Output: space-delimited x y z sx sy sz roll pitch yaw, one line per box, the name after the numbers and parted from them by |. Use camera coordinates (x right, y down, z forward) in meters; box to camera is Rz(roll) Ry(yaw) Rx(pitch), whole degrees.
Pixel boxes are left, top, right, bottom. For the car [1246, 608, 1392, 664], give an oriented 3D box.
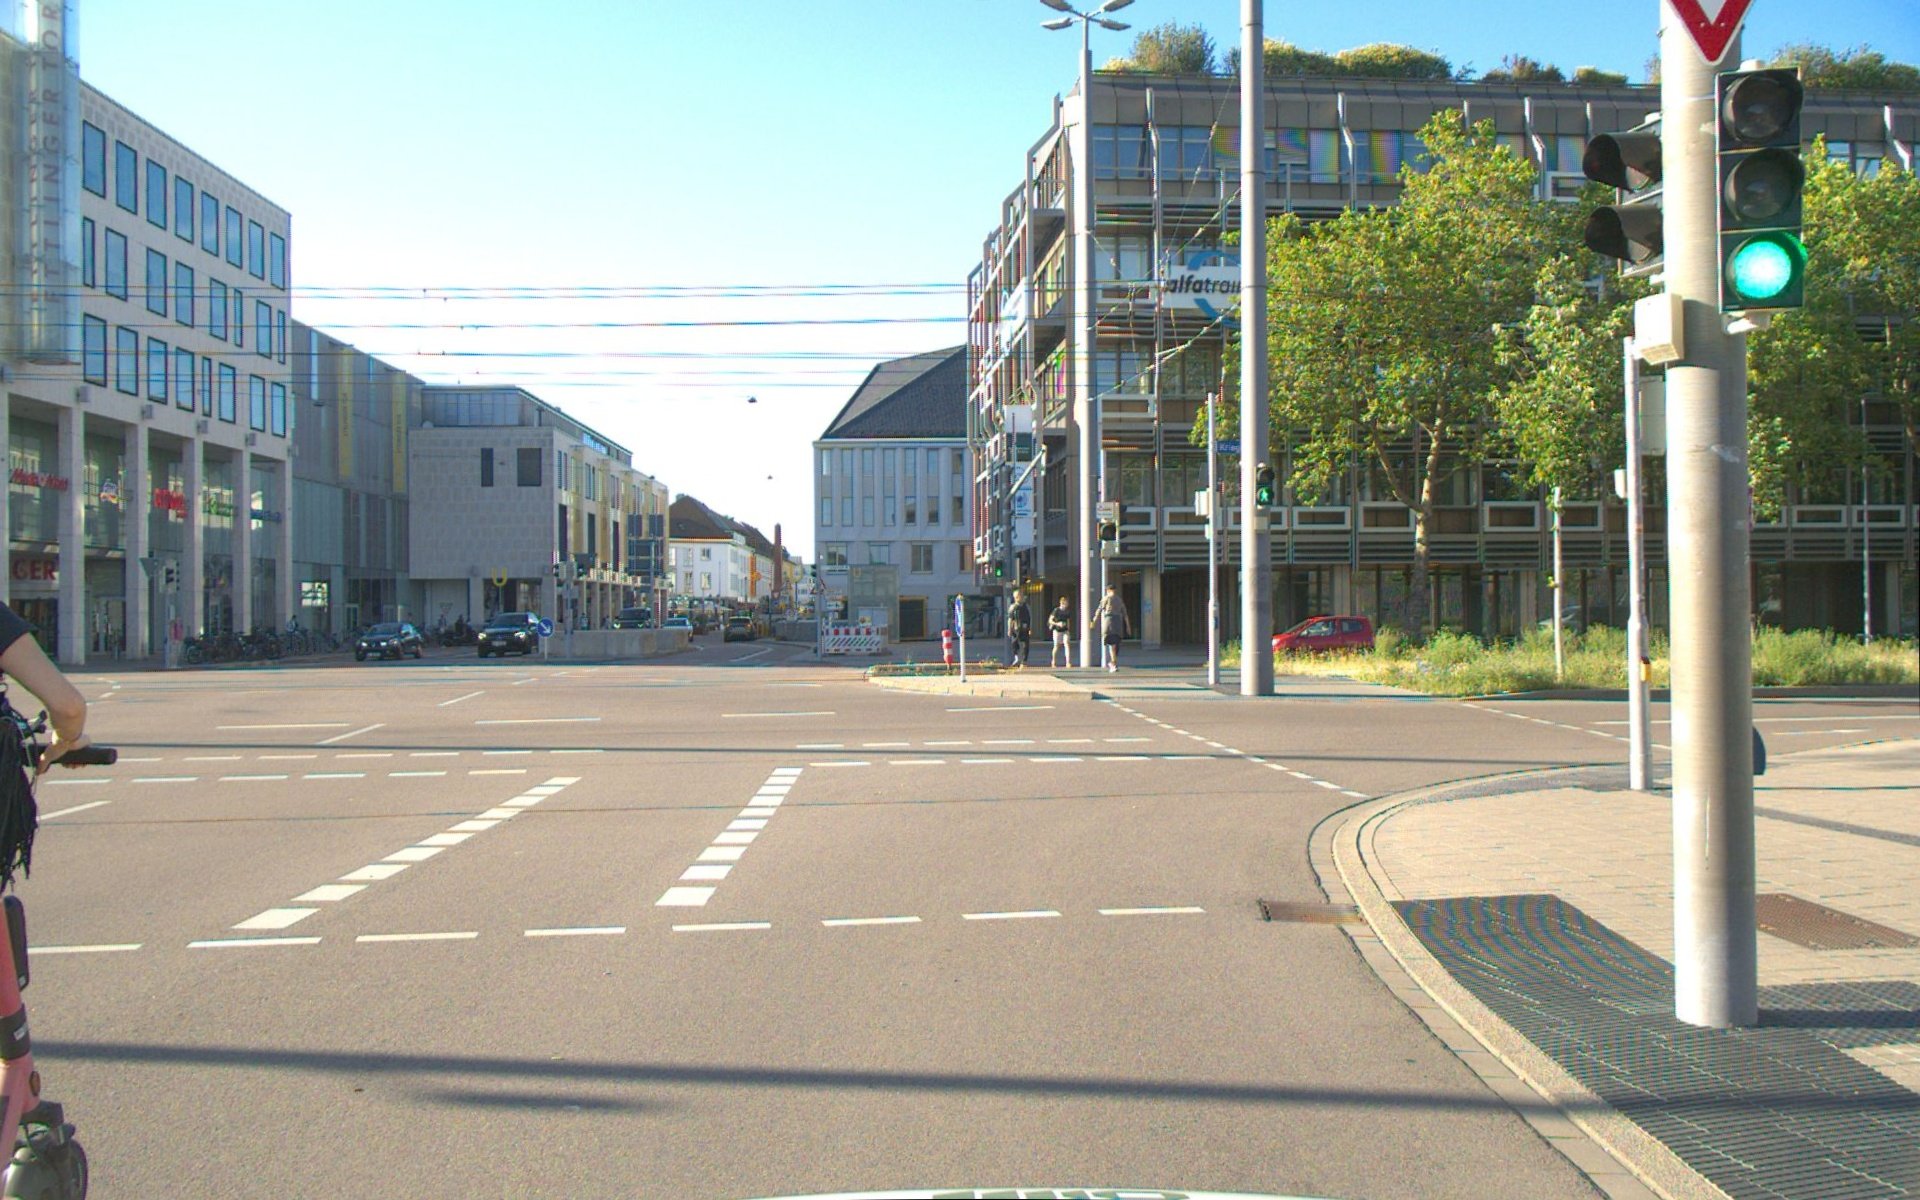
10.486 1.072 48.495 3.790 1.512 1.845 -1 -3 -3 | car

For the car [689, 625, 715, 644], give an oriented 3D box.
-25.862 3.436 165.998 2.131 1.906 5.610 0 -1 -4 | car

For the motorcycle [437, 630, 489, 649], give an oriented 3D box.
-27.787 2.212 92.489 2.617 1.013 0.915 1 -1 -7 | motorcycle

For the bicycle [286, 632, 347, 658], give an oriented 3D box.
-28.746 2.009 73.906 2.417 1.130 0.684 -1 0 1 | bicycle

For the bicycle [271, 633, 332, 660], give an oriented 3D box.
-28.147 1.985 70.710 2.417 1.130 0.537 -1 -1 1 | bicycle

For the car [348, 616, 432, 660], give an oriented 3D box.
-22.257 1.475 64.707 1.898 1.608 4.293 -1 0 -2 | car

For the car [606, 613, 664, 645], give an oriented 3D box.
-17.861 1.587 91.199 2.129 1.722 5.486 0 -1 0 | car

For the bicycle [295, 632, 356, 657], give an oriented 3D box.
-28.836 2.020 75.157 2.417 1.130 0.835 -1 0 1 | bicycle

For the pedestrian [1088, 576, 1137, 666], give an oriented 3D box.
3.045 0.409 33.105 0.839 1.774 0.738 0 0 -8 | pedestrian

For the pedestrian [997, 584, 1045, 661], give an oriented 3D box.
1.272 0.454 34.437 0.878 1.576 0.923 0 1 -6 | pedestrian

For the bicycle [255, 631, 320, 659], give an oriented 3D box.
-27.870 1.851 68.565 2.417 1.130 0.684 -1 0 1 | bicycle

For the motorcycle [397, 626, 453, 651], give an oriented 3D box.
-28.026 2.032 86.678 2.617 1.239 0.915 1 -1 -7 | motorcycle

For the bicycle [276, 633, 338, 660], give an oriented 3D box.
-28.159 1.994 71.350 2.417 1.130 0.684 -1 0 1 | bicycle

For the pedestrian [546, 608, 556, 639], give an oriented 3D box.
-27.483 1.585 111.257 0.605 2.049 0.476 1 -1 -14 | pedestrian

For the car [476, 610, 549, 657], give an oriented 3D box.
-17.117 1.264 63.439 1.899 1.707 4.290 0 -1 -4 | car

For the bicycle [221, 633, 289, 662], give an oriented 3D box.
-28.117 1.898 65.966 2.416 1.130 0.684 -1 0 2 | bicycle

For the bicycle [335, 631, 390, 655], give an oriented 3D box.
-28.670 2.061 79.384 2.417 1.130 0.660 -1 0 1 | bicycle

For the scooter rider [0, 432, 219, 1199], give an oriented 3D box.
-2.046 0.485 3.319 0.629 1.571 1.116 1 -1 -3 | scooter rider

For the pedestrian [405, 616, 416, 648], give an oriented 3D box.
-35.856 2.070 107.978 0.605 2.049 0.476 1 -1 -14 | pedestrian

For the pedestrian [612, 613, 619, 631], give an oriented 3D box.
-26.540 1.693 127.408 0.479 1.380 0.563 1 -1 -6 | pedestrian

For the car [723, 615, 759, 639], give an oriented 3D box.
-13.648 1.684 103.082 1.898 1.475 4.259 0 -1 -3 | car

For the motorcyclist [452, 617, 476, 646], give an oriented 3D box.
-27.757 1.779 92.510 1.115 1.602 0.915 1 -1 -7 | motorcyclist

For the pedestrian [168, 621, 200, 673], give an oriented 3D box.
-26.574 1.602 56.662 0.735 1.770 0.756 0 -1 -2 | pedestrian

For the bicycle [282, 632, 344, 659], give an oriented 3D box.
-28.220 1.993 72.126 2.417 1.130 0.684 -1 0 1 | bicycle

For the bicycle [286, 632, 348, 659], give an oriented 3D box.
-28.417 2.004 73.073 2.417 1.130 0.835 -1 0 1 | bicycle

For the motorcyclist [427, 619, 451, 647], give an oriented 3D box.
-28.049 1.764 89.026 1.016 1.497 0.915 1 -1 -7 | motorcyclist

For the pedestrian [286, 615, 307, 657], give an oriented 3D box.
-31.839 1.723 79.382 0.933 2.017 1.000 0 -1 -24 | pedestrian

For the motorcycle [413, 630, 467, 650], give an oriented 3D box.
-27.976 2.171 89.041 2.617 1.013 0.915 1 -1 -7 | motorcycle

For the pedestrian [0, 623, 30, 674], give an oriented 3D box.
-30.169 1.538 52.459 0.826 1.599 0.940 -1 -1 42 | pedestrian

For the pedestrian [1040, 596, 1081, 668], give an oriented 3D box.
2.725 0.866 44.996 0.992 1.944 1.050 0 0 -4 | pedestrian

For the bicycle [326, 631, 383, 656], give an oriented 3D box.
-28.736 2.063 78.504 2.417 1.130 0.835 -1 0 1 | bicycle

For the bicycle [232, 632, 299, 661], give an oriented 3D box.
-28.022 1.889 66.775 2.417 1.130 0.684 -1 0 1 | bicycle

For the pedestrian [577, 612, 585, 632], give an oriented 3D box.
-26.469 1.568 115.583 0.479 1.380 0.563 1 -1 -6 | pedestrian

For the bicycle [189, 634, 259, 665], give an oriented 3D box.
-28.141 1.882 63.255 2.353 1.132 0.658 -1 0 0 | bicycle

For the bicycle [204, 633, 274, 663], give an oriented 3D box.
-28.162 1.885 64.601 2.417 1.130 0.684 -1 0 0 | bicycle

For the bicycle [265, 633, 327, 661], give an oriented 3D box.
-28.153 1.980 70.124 2.417 1.130 0.593 -1 -1 1 | bicycle

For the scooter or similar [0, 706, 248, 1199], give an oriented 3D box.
-2.044 0.857 3.317 0.629 1.196 1.483 1 0 -3 | scooter or similar

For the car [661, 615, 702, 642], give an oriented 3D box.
-18.377 1.869 109.311 2.131 1.722 5.609 0 -1 -5 | car

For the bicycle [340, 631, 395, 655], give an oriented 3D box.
-28.705 2.076 80.087 2.417 1.130 0.660 -1 0 1 | bicycle
